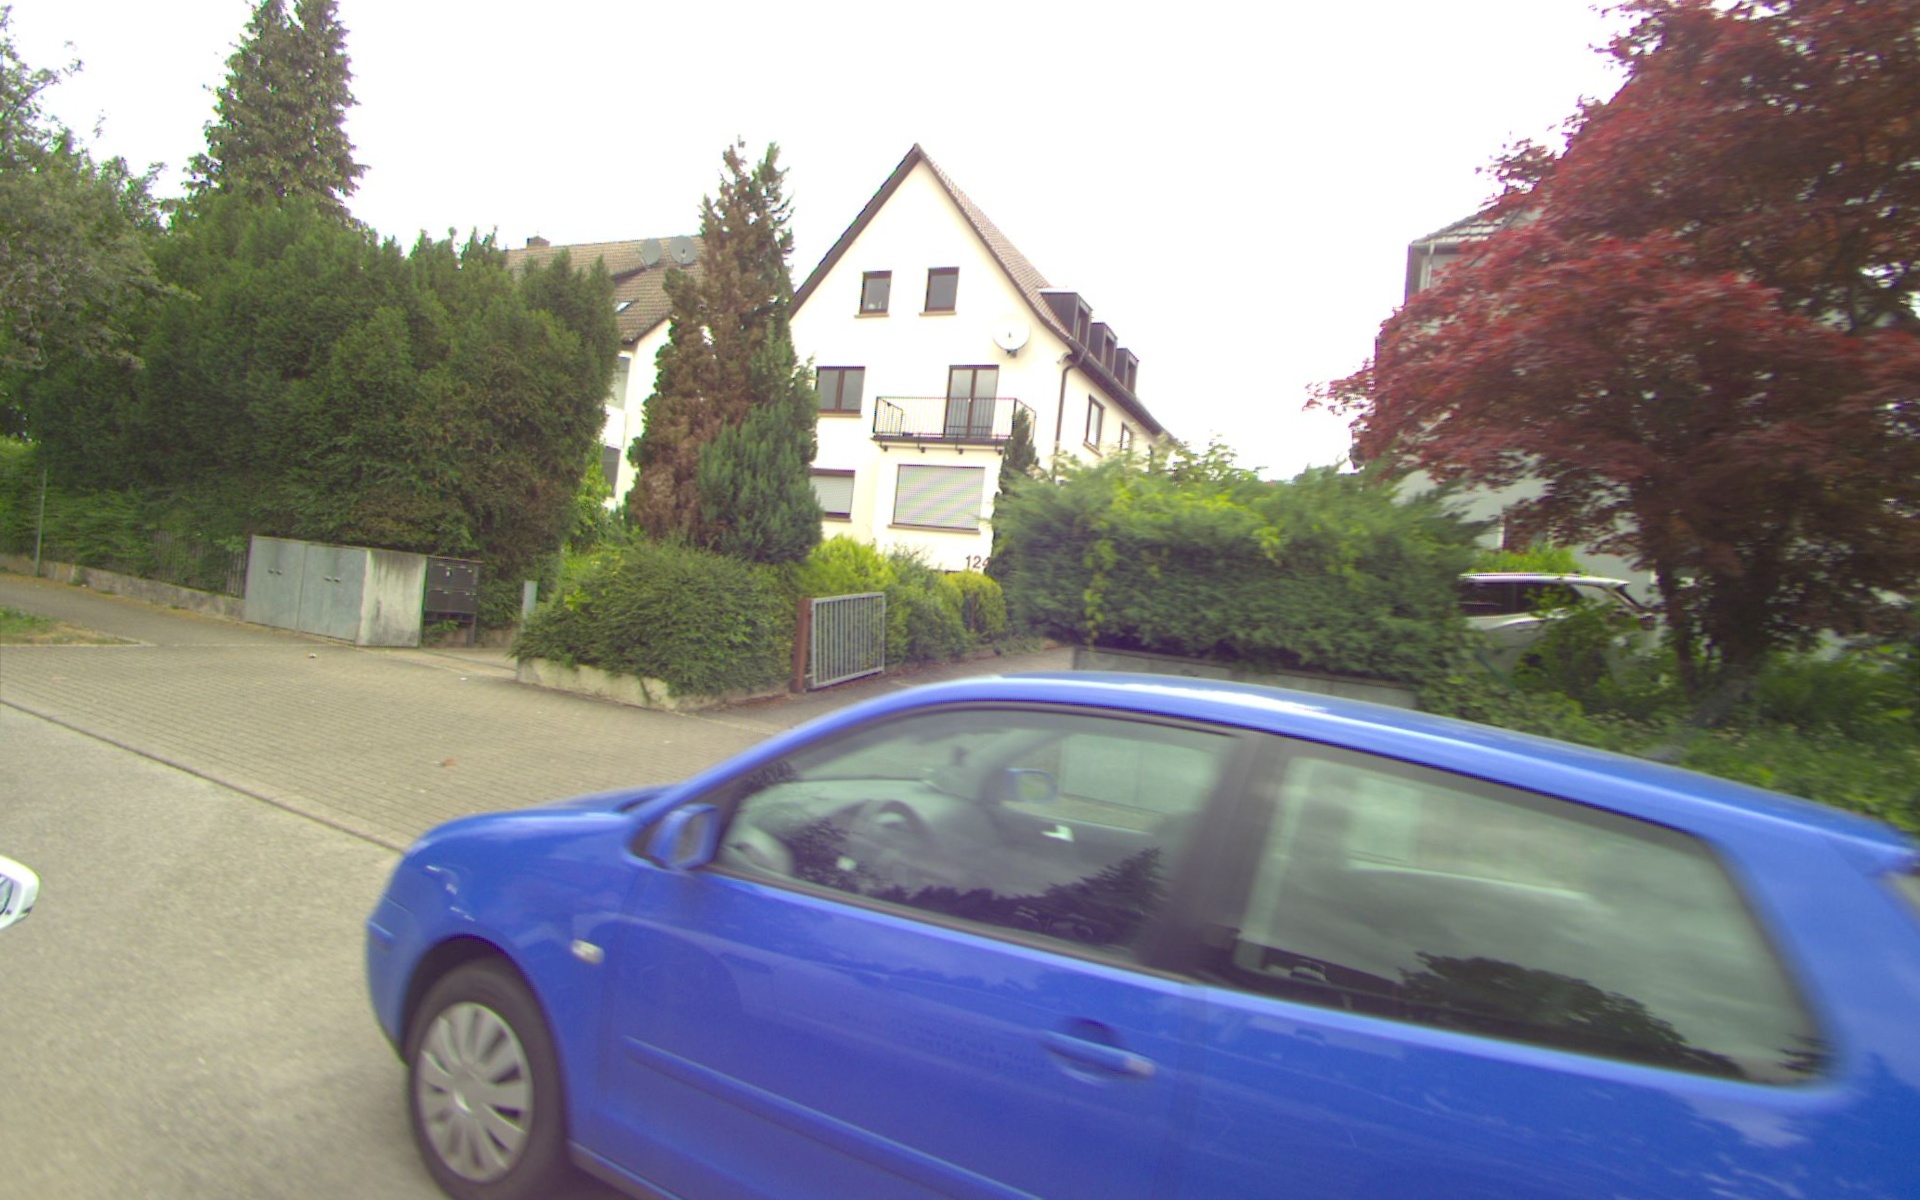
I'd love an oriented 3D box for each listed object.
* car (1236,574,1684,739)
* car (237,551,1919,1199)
[{"bbox_3d":[5.738,0.562,12.068,4.458,1.701,1.779,1,1,24],"label":"car"},{"bbox_3d":[0.111,0.871,2.616,3.809,1.468,1.631,7,-2,29],"label":"car"}]
